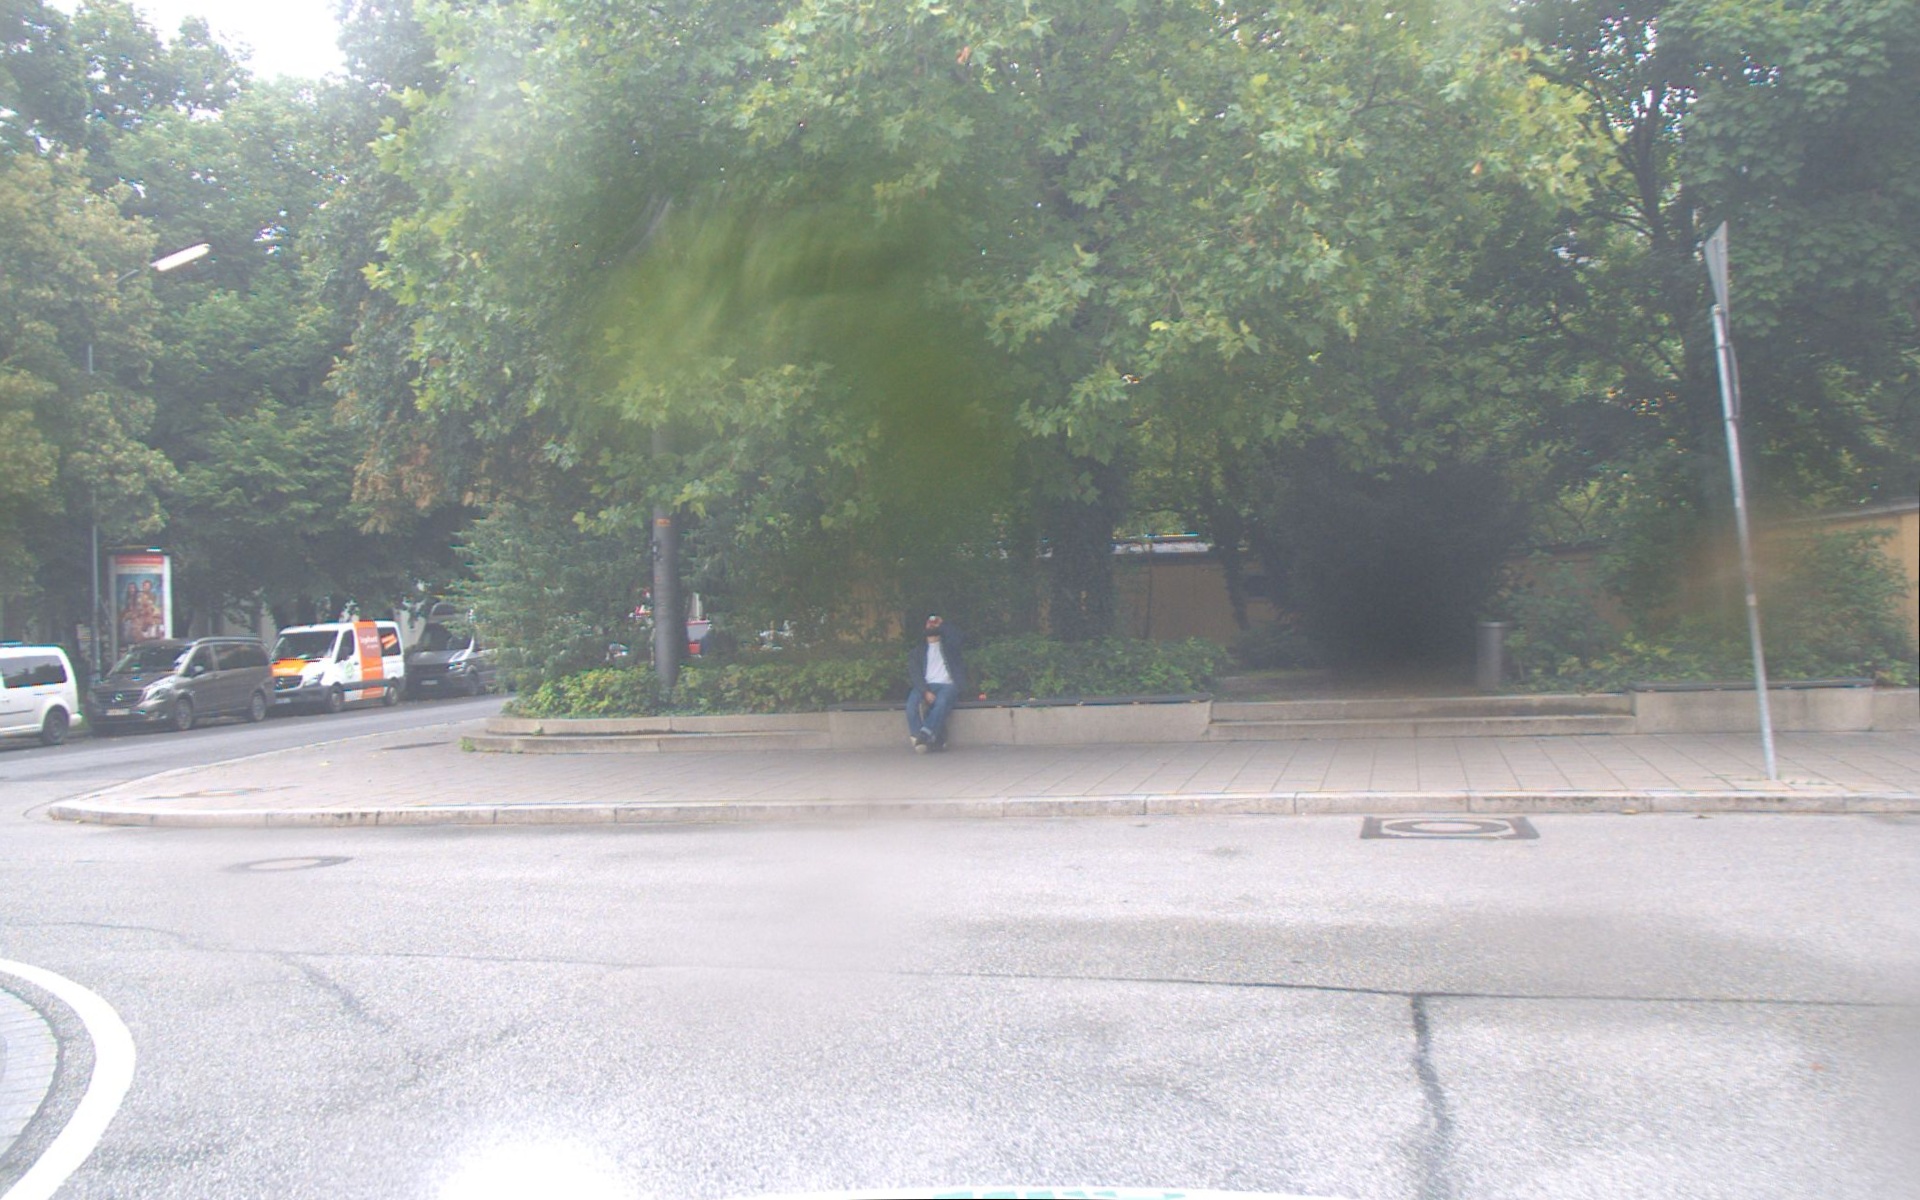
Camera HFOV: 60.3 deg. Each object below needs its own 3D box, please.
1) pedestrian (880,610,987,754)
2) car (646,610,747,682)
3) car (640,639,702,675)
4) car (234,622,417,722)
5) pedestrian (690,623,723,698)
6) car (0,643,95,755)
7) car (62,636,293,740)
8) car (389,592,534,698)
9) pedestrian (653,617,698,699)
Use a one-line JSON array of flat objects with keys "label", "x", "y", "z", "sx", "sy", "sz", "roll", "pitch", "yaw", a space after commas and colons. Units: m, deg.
[{"label": "pedestrian", "x": -0.255, "y": 0.809, "z": 16.685, "sx": 0.752, "sy": 1.380, "sz": 1.132, "roll": -2, "pitch": -1, "yaw": 14}, {"label": "car", "x": -7.730, "y": 1.328, "z": 48.995, "sx": 1.871, "sy": 1.971, "sz": 4.971, "roll": -2, "pitch": -1, "yaw": 3}, {"label": "car", "x": -13.399, "y": 2.649, "z": 77.000, "sx": 1.952, "sy": 1.513, "sz": 4.130, "roll": -2, "pitch": -1, "yaw": 3}, {"label": "car", "x": -16.473, "y": 1.811, "z": 43.354, "sx": 2.040, "sy": 2.304, "sz": 5.606, "roll": -4, "pitch": -1, "yaw": 6}, {"label": "pedestrian", "x": -5.871, "y": 1.400, "z": 38.319, "sx": 0.623, "sy": 1.696, "sz": 0.694, "roll": -2, "pitch": -1, "yaw": -17}, {"label": "car", "x": -17.887, "y": 1.805, "z": 29.367, "sx": 2.039, "sy": 1.937, "sz": 4.862, "roll": -2, "pitch": -1, "yaw": 7}, {"label": "car", "x": -17.005, "y": 1.847, "z": 36.354, "sx": 1.984, "sy": 1.941, "sz": 5.669, "roll": -4, "pitch": -1, "yaw": 4}, {"label": "car", "x": -15.596, "y": 1.387, "z": 52.200, "sx": 2.127, "sy": 3.055, "sz": 6.236, "roll": -2, "pitch": -1, "yaw": 5}, {"label": "pedestrian", "x": -6.651, "y": 1.355, "z": 38.686, "sx": 0.808, "sy": 1.868, "sz": 0.946, "roll": -2, "pitch": -1, "yaw": -22}]
